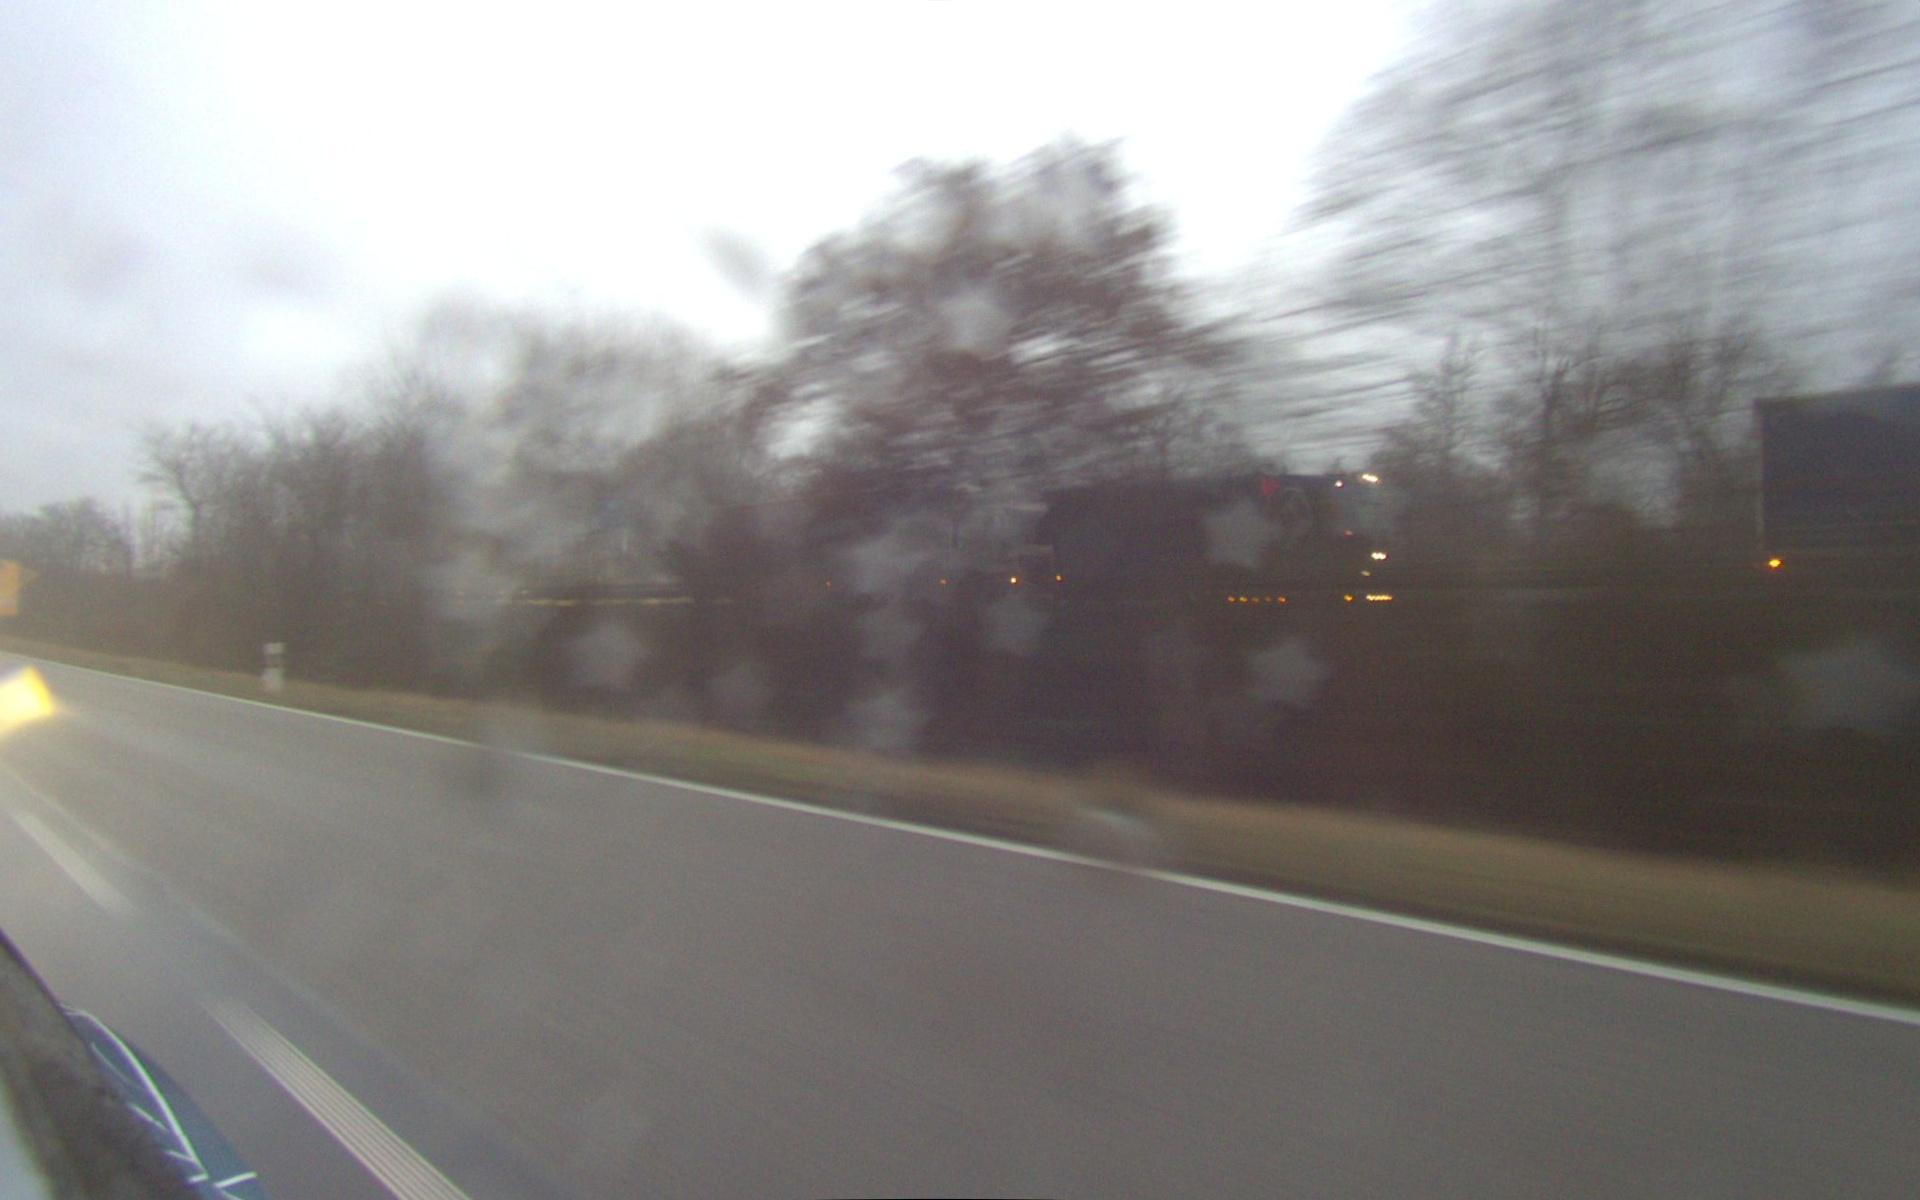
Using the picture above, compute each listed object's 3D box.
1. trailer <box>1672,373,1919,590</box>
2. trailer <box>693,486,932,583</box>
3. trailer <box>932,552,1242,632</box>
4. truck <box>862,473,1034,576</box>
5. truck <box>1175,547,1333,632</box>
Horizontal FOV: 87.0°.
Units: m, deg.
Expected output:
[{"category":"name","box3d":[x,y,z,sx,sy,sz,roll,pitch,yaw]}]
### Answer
[{"category":"trailer","box3d":[19.363,-2.159,17.428,11.379,3.661,2.968,-1,-1,41]},{"category":"trailer","box3d":[-5.962,-2.282,38.687,11.079,2.913,2.410,-1,-1,41]},{"category":"trailer","box3d":[4.038,-0.134,35.674,11.497,2.443,2.482,-1,-2,41]},{"category":"truck","box3d":[-0.479,-2.393,33.909,5.580,2.909,2.424,-1,-1,41]},{"category":"truck","box3d":[9.043,-0.249,31.248,3.998,2.454,2.503,-1,-2,41]}]
